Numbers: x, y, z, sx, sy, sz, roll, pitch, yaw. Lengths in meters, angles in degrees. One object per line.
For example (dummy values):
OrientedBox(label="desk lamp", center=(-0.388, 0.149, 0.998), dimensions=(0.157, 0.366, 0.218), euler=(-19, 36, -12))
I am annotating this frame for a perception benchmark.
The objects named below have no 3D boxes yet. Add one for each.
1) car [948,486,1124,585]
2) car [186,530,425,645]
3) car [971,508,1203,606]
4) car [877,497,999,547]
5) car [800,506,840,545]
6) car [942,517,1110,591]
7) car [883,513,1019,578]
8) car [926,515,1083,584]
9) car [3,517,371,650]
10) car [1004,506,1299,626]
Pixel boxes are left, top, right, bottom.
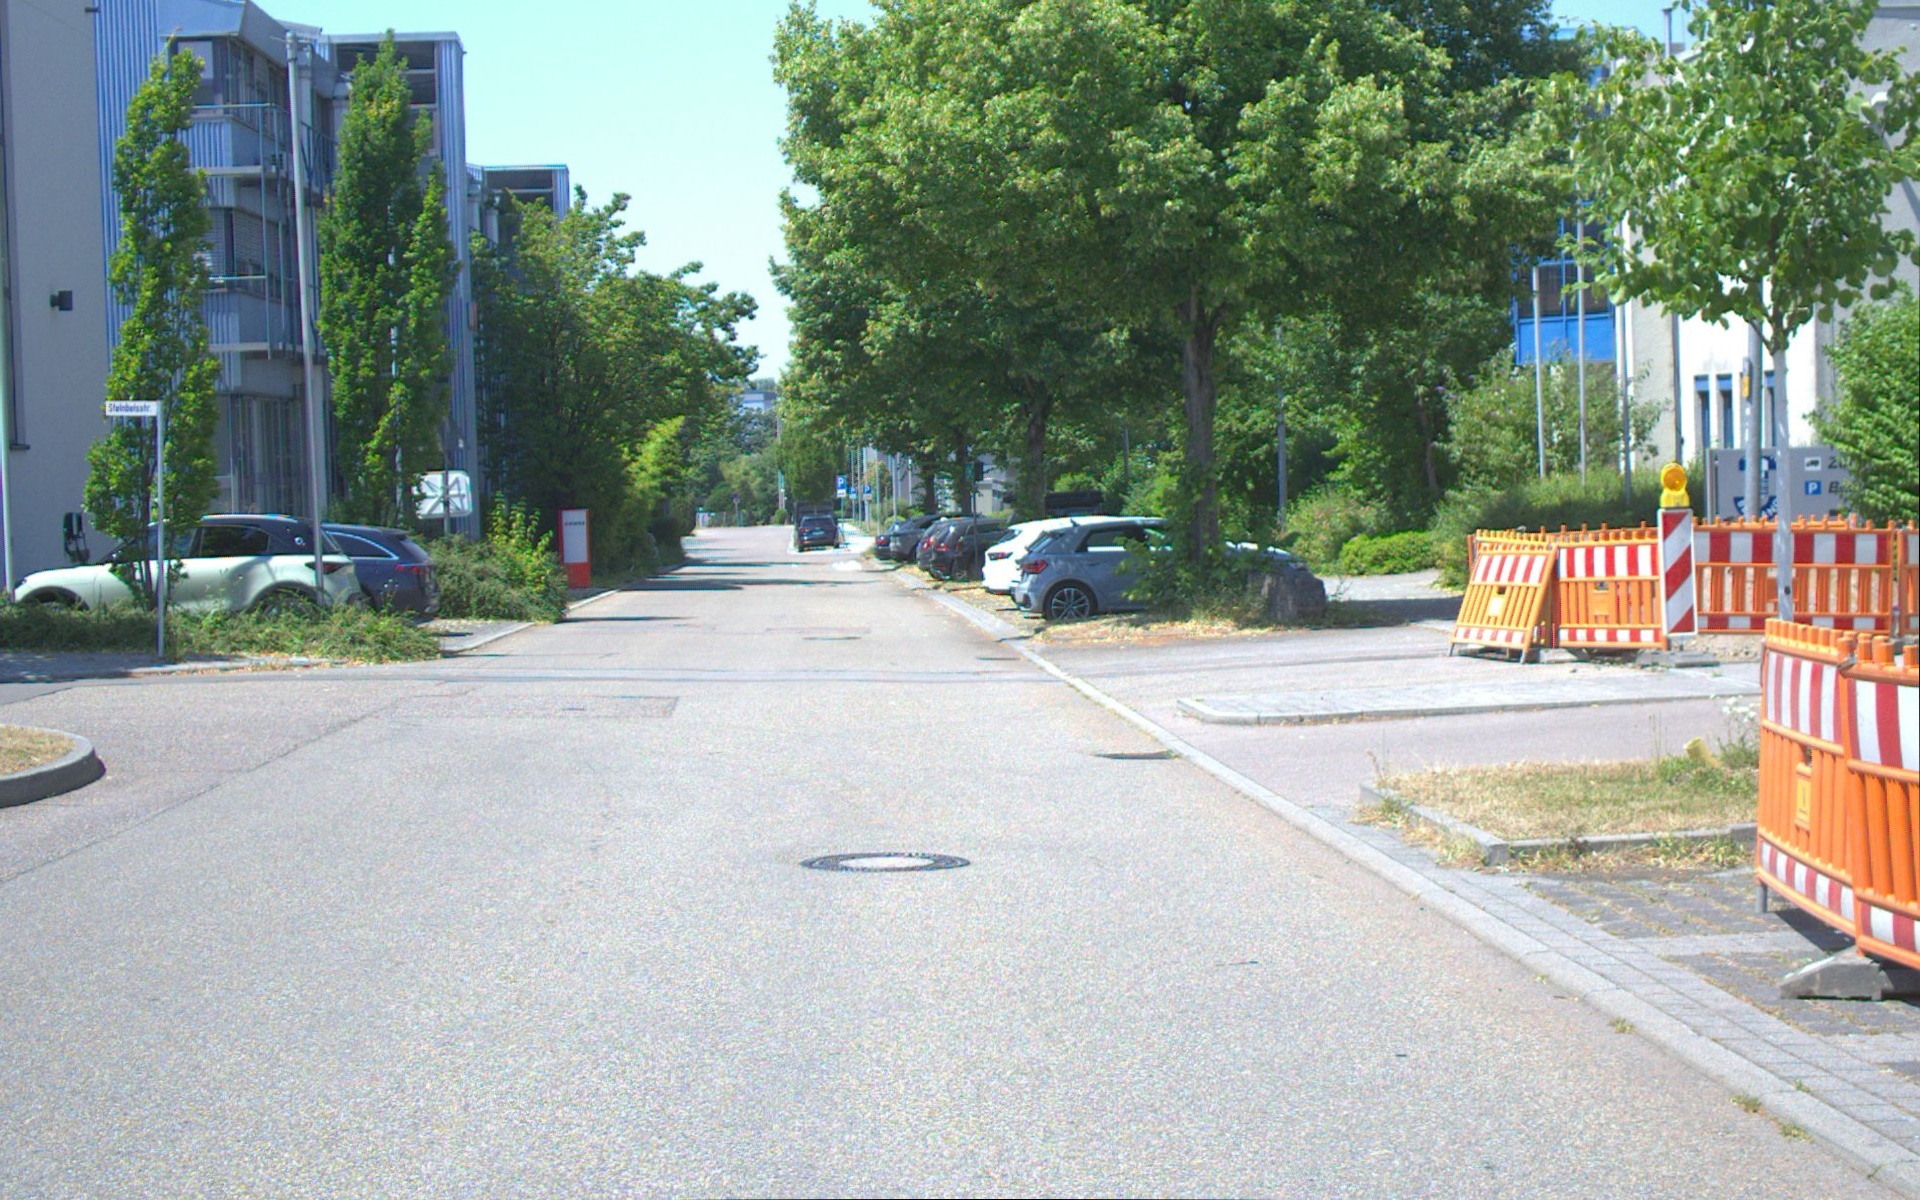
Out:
OrientedBox(label="car", center=(1.651, -1.426, 75.645), dimensions=(3.721, 2.103, 1.814), euler=(-1, 1, -3))
OrientedBox(label="car", center=(-8.649, -0.177, 45.599), dimensions=(3.057, 1.473, 1.293), euler=(0, 1, -9))
OrientedBox(label="car", center=(2.065, -0.714, 56.179), dimensions=(3.516, 1.350, 1.538), euler=(-4, 1, -7))
OrientedBox(label="car", center=(-0.766, -2.679, 118.097), dimensions=(3.930, 1.572, 1.768), euler=(-1, 5, -10))
OrientedBox(label="car", center=(-6.370, -3.392, 157.032), dimensions=(1.761, 1.749, 3.945), euler=(-1, 1, -2))
OrientedBox(label="car", center=(1.493, -1.059, 78.629), dimensions=(3.721, 1.621, 1.814), euler=(-1, 1, -3))
OrientedBox(label="car", center=(-0.300, -1.677, 105.782), dimensions=(3.930, 1.828, 1.768), euler=(-1, 5, -10))
OrientedBox(label="car", center=(1.070, -1.236, 83.892), dimensions=(3.721, 1.621, 1.814), euler=(-1, 1, -3))
OrientedBox(label="car", center=(-9.113, -0.206, 40.774), dimensions=(4.045, 1.489, 1.729), euler=(-1, 1, -5))
OrientedBox(label="car", center=(2.560, -0.471, 46.451), dimensions=(3.678, 1.350, 1.646), euler=(-4, 1, -7))
